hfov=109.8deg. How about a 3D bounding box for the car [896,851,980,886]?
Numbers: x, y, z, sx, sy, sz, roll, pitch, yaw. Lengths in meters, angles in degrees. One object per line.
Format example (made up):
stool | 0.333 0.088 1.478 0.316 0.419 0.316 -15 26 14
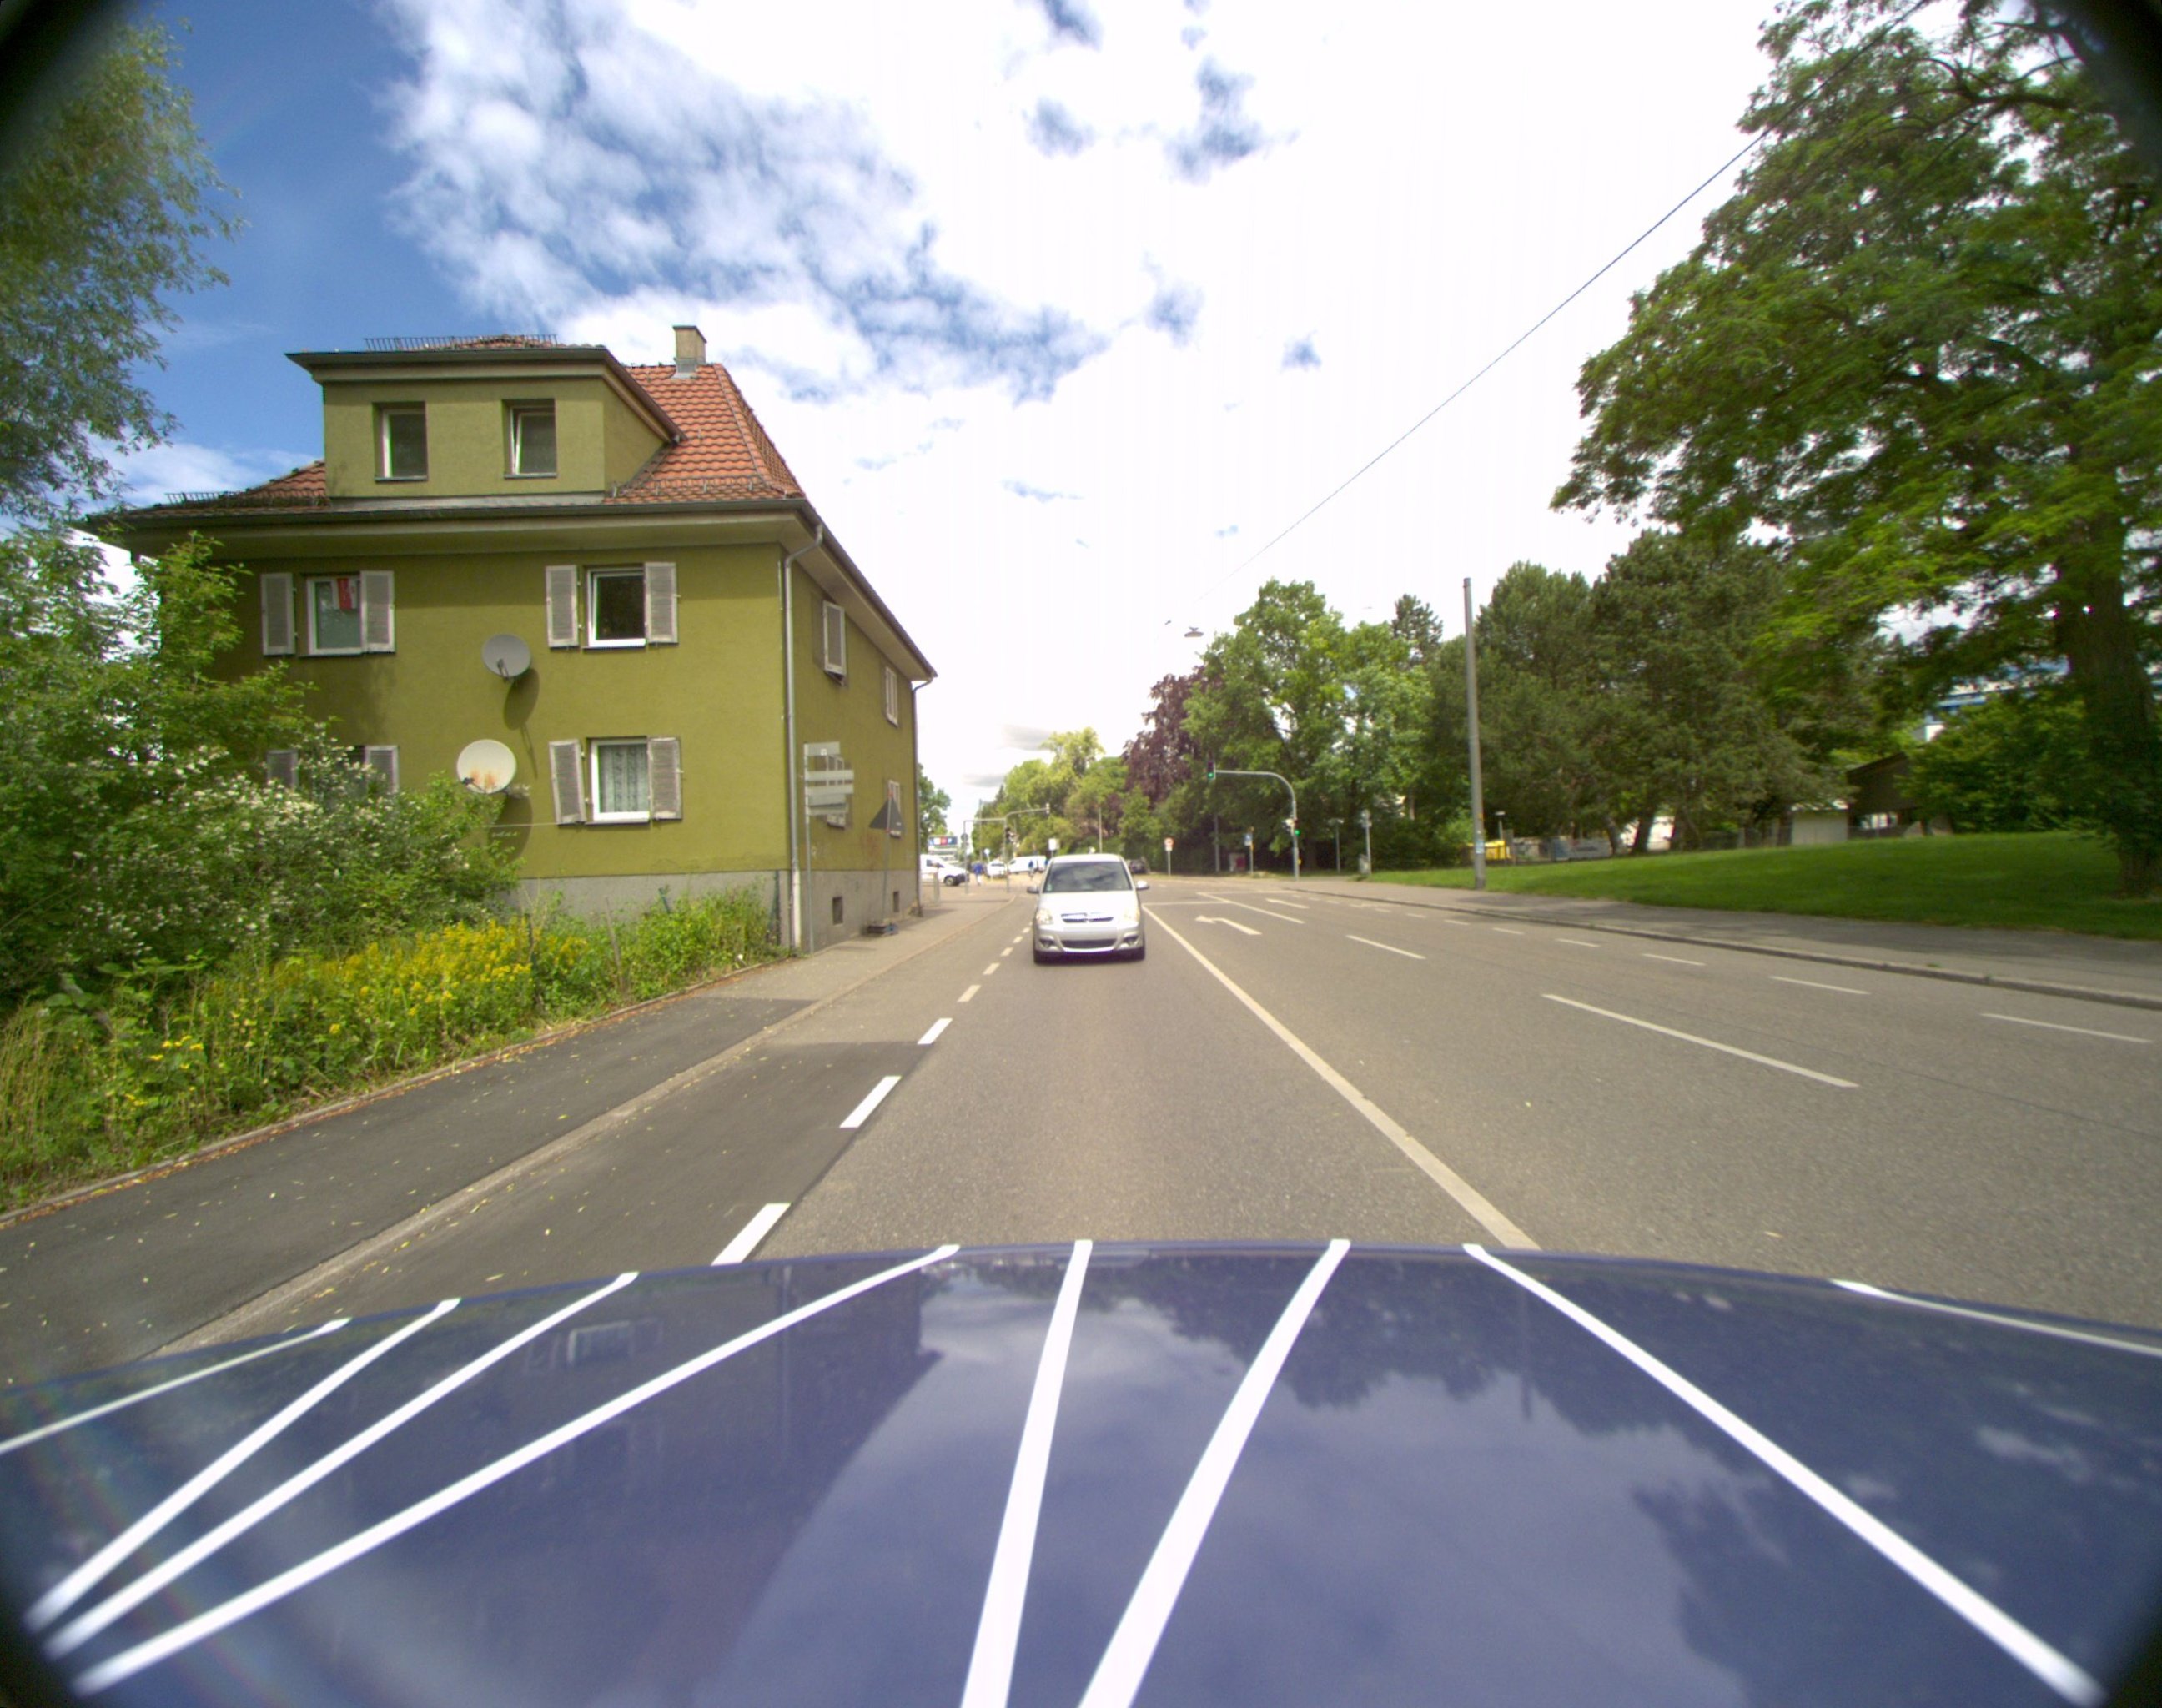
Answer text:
car | -8.369 0.840 44.729 4.364 1.983 2.001 -1 1 9

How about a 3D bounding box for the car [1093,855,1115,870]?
car | 2.463 0.921 82.197 1.900 1.501 3.997 0 1 -7

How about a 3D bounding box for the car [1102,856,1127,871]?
car | 3.341 0.943 77.213 1.900 1.501 3.997 0 1 -7

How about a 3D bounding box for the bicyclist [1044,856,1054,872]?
bicyclist | -3.248 0.993 77.671 0.808 1.599 0.771 -4 1 -15

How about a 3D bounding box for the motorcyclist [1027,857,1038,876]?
motorcyclist | -4.050 1.062 63.464 0.837 1.547 0.650 0 1 -1

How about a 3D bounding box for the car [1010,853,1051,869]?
car | -5.859 0.796 88.241 4.490 1.787 1.803 0 1 32

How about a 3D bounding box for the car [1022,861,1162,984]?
car | 0.182 0.924 12.064 1.780 1.519 4.000 -3 0 1

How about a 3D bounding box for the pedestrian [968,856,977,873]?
pedestrian | -11.233 1.093 78.614 0.723 1.651 0.777 -4 1 -4

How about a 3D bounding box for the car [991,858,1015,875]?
car | -7.032 1.127 69.054 1.799 1.501 4.000 -1 -1 0

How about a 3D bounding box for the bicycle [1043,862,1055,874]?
bicycle | -3.240 1.410 77.716 0.814 1.101 1.798 -4 0 -15

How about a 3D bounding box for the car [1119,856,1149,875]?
car | 4.679 1.000 67.531 1.900 1.501 3.997 0 1 -7

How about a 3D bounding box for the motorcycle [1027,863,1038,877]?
motorcycle | -4.046 1.362 63.455 0.837 1.101 1.800 0 0 -1

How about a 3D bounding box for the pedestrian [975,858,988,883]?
pedestrian | -6.258 1.033 47.792 0.729 1.543 1.056 -2 0 -10
